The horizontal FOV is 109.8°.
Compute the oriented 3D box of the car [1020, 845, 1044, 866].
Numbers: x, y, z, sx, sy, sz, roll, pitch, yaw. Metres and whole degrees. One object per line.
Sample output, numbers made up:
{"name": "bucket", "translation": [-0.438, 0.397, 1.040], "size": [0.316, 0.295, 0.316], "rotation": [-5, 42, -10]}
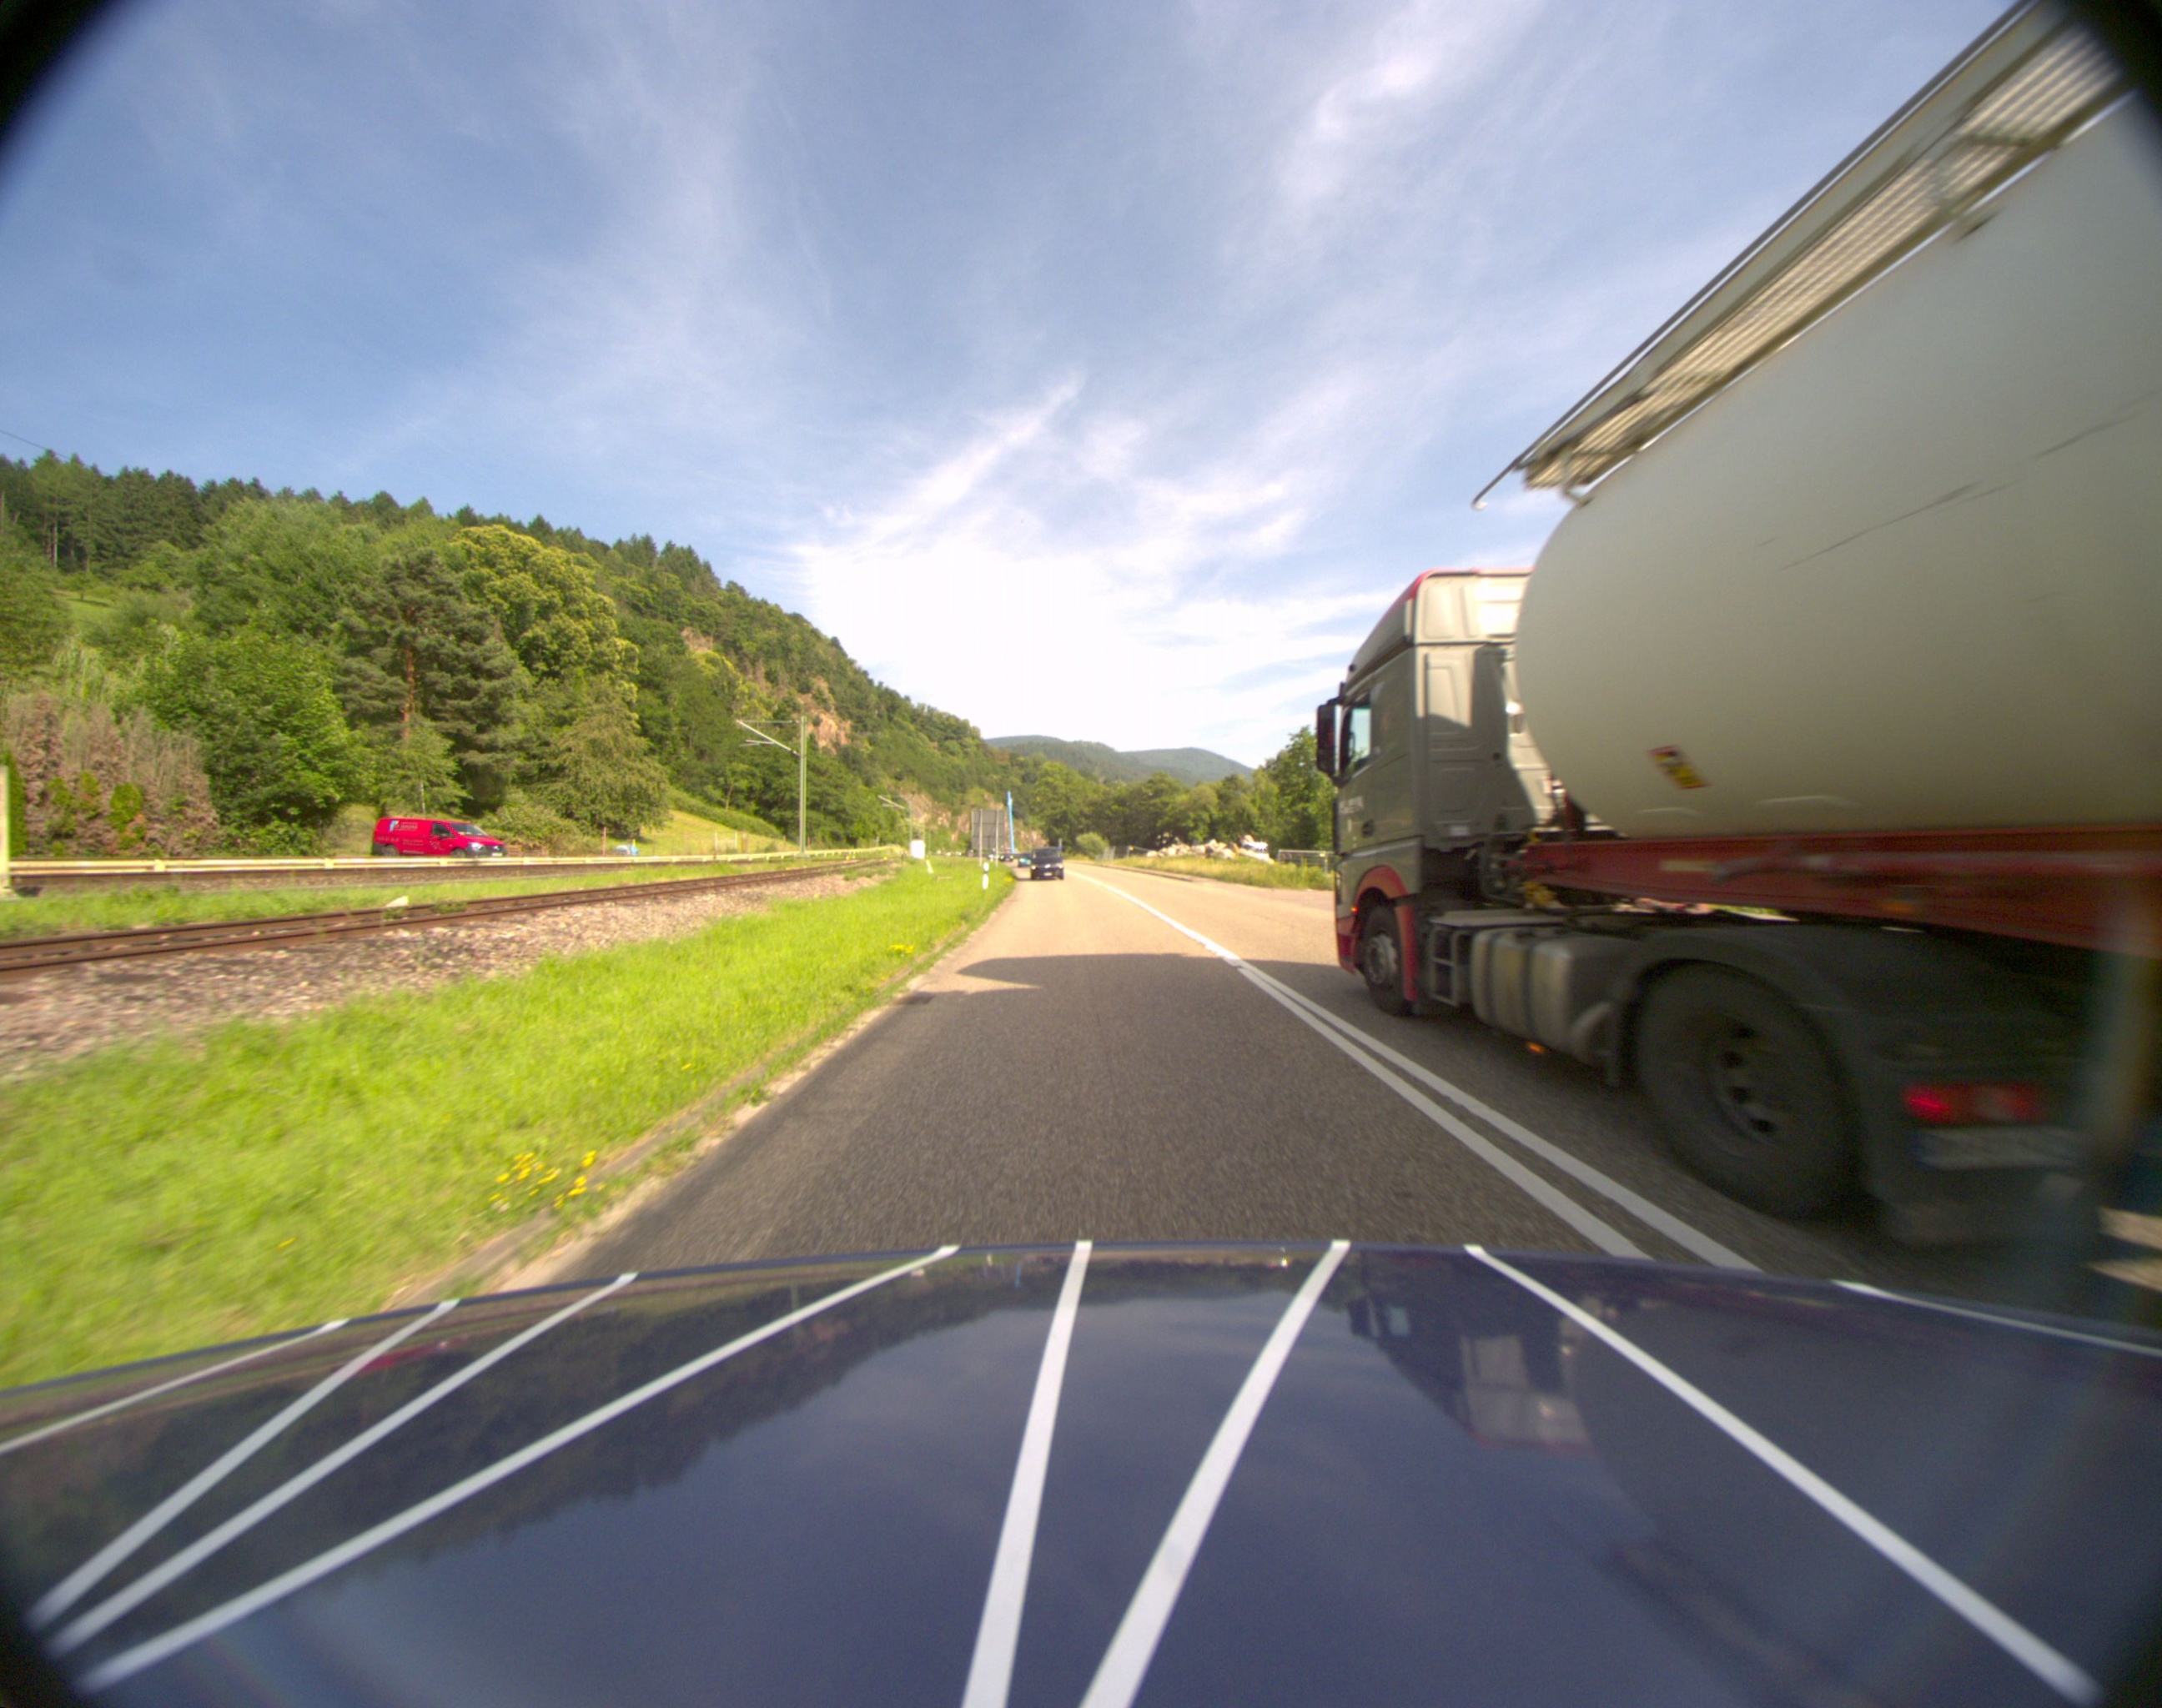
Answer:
{"name": "car", "translation": [-5.012, 0.172, 77.056], "size": [2.000, 2.002, 3.996], "rotation": [2, 0, -8]}

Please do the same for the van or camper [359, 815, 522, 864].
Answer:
{"name": "van or camper", "translation": [-28.141, -0.619, 33.483], "size": [5.430, 1.918, 2.121], "rotation": [2, 0, 2]}

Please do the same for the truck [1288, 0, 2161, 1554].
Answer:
{"name": "truck", "translation": [3.709, -0.390, 4.271], "size": [2.757, 3.813, 8.197], "rotation": [-1, 0, 0]}

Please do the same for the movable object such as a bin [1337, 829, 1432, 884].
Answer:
{"name": "movable object such as a bin", "translation": [23.424, 0.124, 59.188], "size": [2.908, 3.924, 7.799], "rotation": [2, 0, -12]}

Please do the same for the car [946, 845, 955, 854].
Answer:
{"name": "car", "translation": [-32.880, -1.102, 191.268], "size": [2.000, 2.002, 3.997], "rotation": [2, 0, -7]}

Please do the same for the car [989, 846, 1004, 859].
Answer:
{"name": "car", "translation": [-14.349, -0.288, 128.558], "size": [2.001, 2.002, 3.994], "rotation": [2, 0, -14]}

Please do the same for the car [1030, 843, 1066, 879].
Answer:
{"name": "car", "translation": [-1.891, 0.434, 44.711], "size": [1.999, 2.001, 4.000], "rotation": [1, -2, -1]}

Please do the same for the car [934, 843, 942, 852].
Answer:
{"name": "car", "translation": [-35.926, -1.594, 190.944], "size": [2.001, 2.002, 3.996], "rotation": [2, 0, -11]}

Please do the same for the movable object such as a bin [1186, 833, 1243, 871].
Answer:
{"name": "movable object such as a bin", "translation": [14.880, -0.228, 85.627], "size": [2.709, 3.924, 9.977], "rotation": [2, 0, -12]}

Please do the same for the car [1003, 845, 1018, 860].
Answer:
{"name": "car", "translation": [-10.166, -0.220, 109.454], "size": [1.999, 2.002, 3.998], "rotation": [2, 0, -5]}

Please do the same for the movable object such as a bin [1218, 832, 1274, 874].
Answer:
{"name": "movable object such as a bin", "translation": [16.663, -0.148, 77.207], "size": [2.731, 3.924, 7.221], "rotation": [2, 0, -12]}
